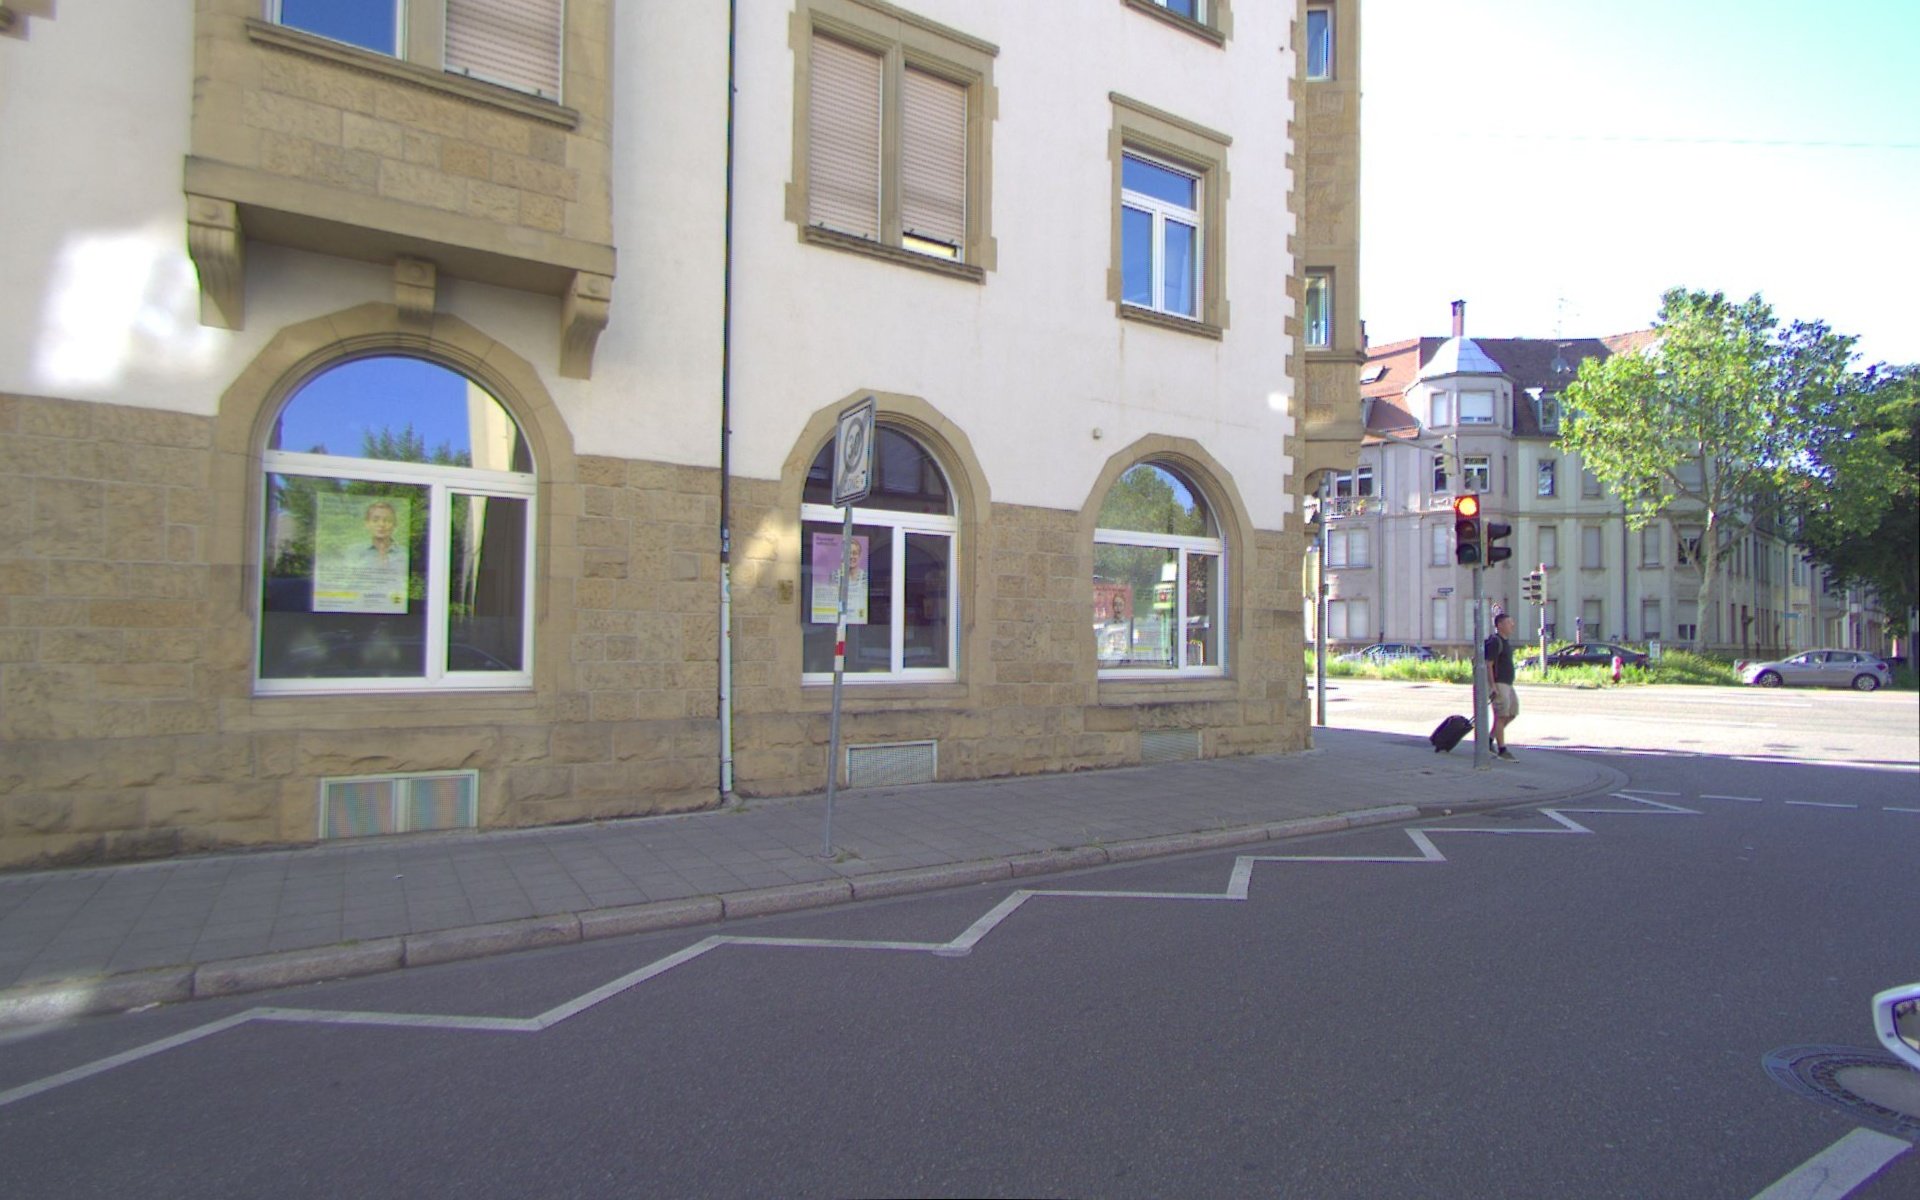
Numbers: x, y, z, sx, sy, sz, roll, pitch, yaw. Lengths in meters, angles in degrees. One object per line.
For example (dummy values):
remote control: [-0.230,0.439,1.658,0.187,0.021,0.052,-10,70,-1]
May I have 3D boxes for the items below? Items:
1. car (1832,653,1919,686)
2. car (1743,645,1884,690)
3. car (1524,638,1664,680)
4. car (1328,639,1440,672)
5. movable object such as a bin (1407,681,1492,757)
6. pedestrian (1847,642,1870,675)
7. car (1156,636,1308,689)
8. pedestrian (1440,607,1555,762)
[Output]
car: [45.452,3.405,49.502,1.647,1.476,3.595,2,-2,-44]
car: [30.028,2.340,35.477,3.736,1.419,1.639,-1,-2,40]
car: [23.386,2.147,37.130,4.216,1.419,1.639,-1,-2,40]
car: [18.845,2.441,44.788,4.336,1.334,1.638,-1,-2,41]
movable object such as a bin: [6.315,1.516,12.966,0.506,0.904,0.854,2,-3,-42]
pedestrian: [40.578,2.636,45.350,0.693,1.461,0.488,2,0,35]
car: [8.175,1.832,30.456,4.155,1.476,1.669,-2,-2,42]
pedestrian: [6.949,1.053,12.993,0.743,1.873,1.056,2,1,-42]
